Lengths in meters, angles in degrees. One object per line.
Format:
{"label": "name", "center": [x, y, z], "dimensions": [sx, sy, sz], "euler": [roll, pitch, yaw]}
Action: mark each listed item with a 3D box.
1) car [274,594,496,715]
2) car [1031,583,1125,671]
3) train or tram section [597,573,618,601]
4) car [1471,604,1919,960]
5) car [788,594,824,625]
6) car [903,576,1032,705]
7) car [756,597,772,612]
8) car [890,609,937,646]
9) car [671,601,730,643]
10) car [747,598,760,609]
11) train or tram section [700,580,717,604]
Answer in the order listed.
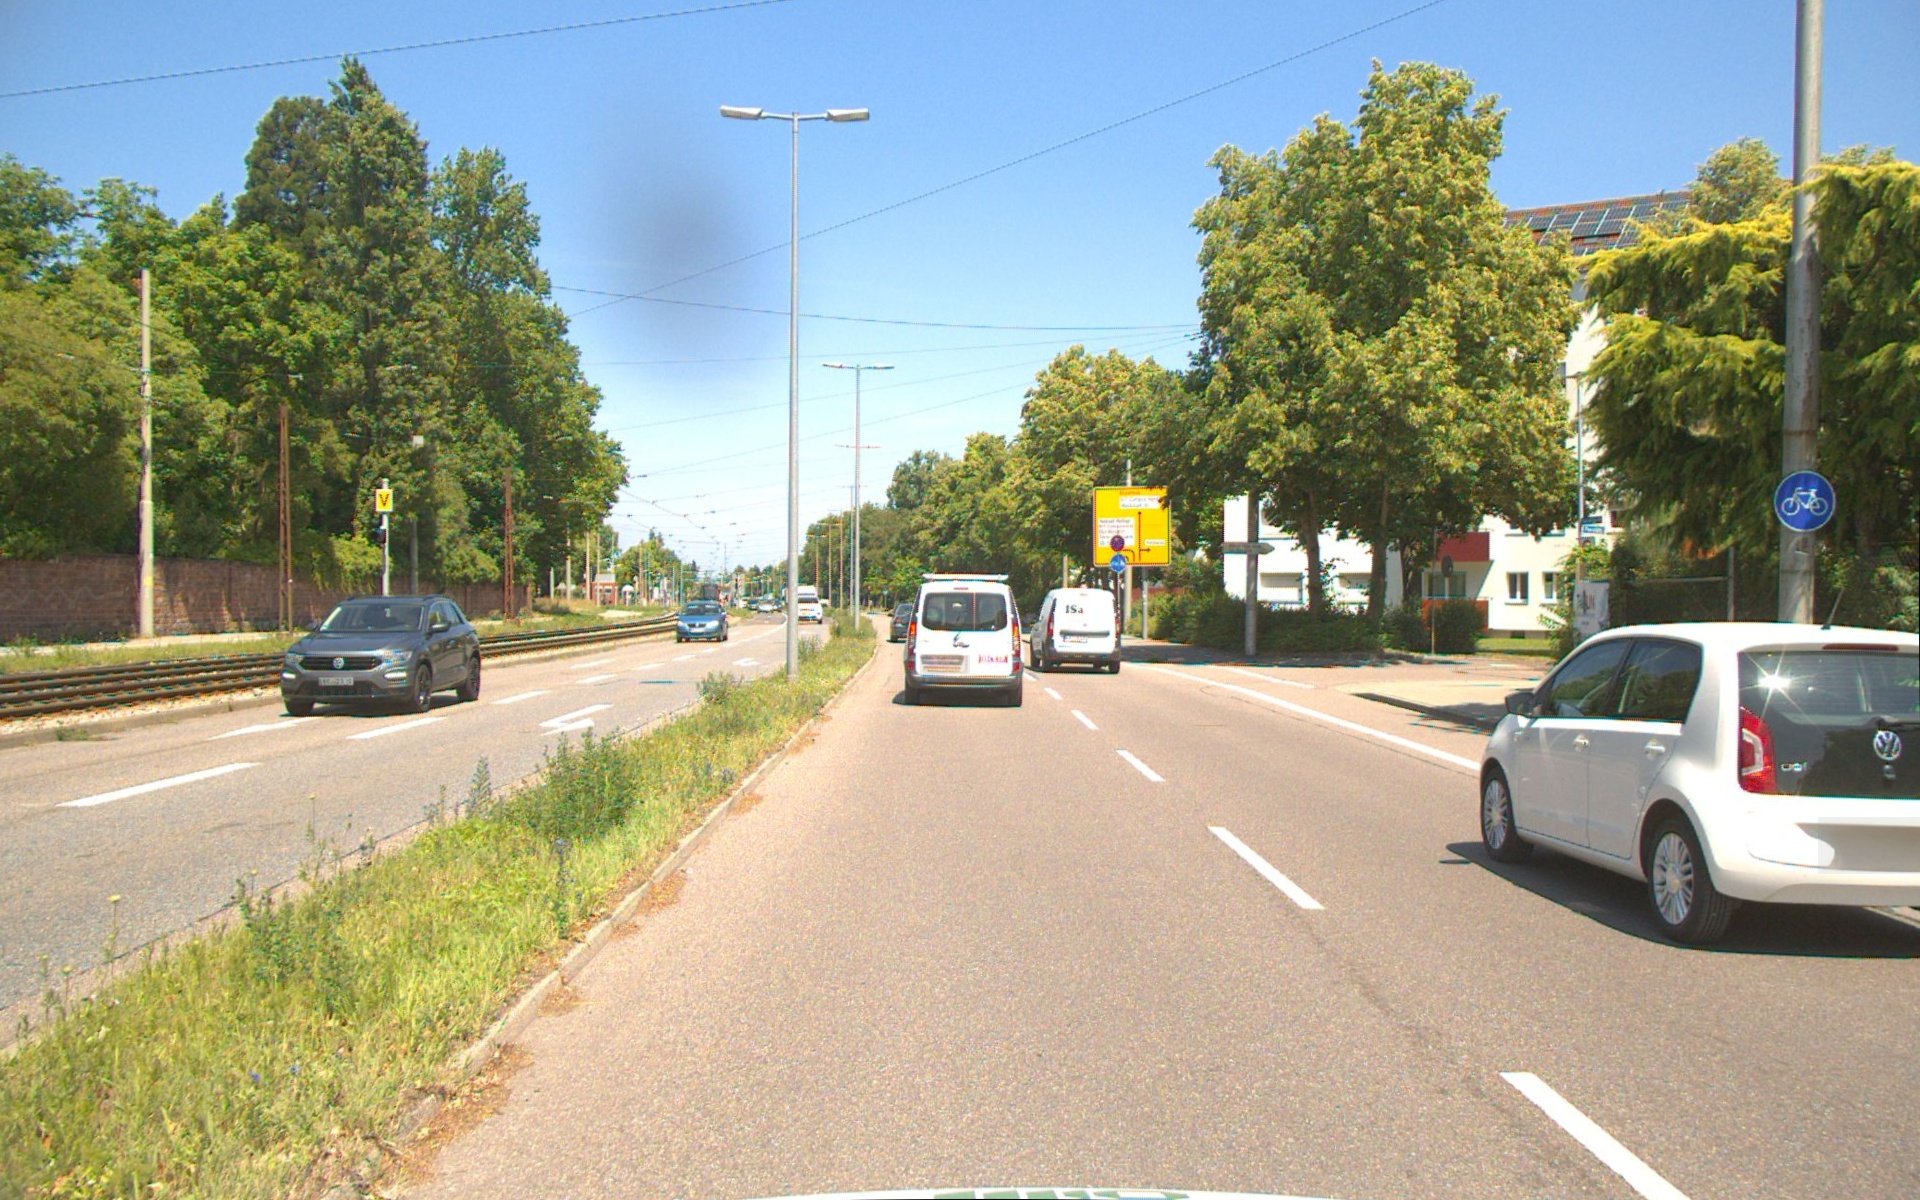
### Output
{"label": "car", "center": [-7.929, 0.689, 23.196], "dimensions": [1.662, 1.539, 4.066], "euler": [0, 0, 0]}
{"label": "car", "center": [2.575, 0.570, 36.996], "dimensions": [1.692, 1.819, 4.063], "euler": [2, 0, -1]}
{"label": "train or tram section", "center": [-48.163, -1.710, 226.505], "dimensions": [1.957, 3.585, 16.130], "euler": [2, 0, -9]}
{"label": "car", "center": [4.114, 0.809, 8.906], "dimensions": [1.577, 1.472, 3.435], "euler": [2, 1, -1]}
{"label": "car", "center": [-9.627, 0.578, 103.689], "dimensions": [1.953, 1.847, 3.999], "euler": [0, 0, -1]}
{"label": "car", "center": [0.102, 0.566, 25.516], "dimensions": [1.784, 1.770, 4.396], "euler": [1, 0, 0]}
{"label": "car", "center": [-22.122, 0.523, 186.722], "dimensions": [1.713, 1.594, 3.995], "euler": [2, 0, -6]}
{"label": "car", "center": [-1.687, 0.987, 60.622], "dimensions": [1.658, 1.237, 3.588], "euler": [2, 0, -1]}
{"label": "car", "center": [-9.397, 0.782, 60.114], "dimensions": [1.663, 1.464, 3.998], "euler": [0, 0, -3]}
{"label": "car", "center": [-30.064, 0.548, 240.395], "dimensions": [1.713, 1.594, 3.995], "euler": [2, 0, -6]}
{"label": "train or tram section", "center": [-34.584, -1.027, 227.472], "dimensions": [1.957, 3.140, 16.130], "euler": [2, 0, -9]}
